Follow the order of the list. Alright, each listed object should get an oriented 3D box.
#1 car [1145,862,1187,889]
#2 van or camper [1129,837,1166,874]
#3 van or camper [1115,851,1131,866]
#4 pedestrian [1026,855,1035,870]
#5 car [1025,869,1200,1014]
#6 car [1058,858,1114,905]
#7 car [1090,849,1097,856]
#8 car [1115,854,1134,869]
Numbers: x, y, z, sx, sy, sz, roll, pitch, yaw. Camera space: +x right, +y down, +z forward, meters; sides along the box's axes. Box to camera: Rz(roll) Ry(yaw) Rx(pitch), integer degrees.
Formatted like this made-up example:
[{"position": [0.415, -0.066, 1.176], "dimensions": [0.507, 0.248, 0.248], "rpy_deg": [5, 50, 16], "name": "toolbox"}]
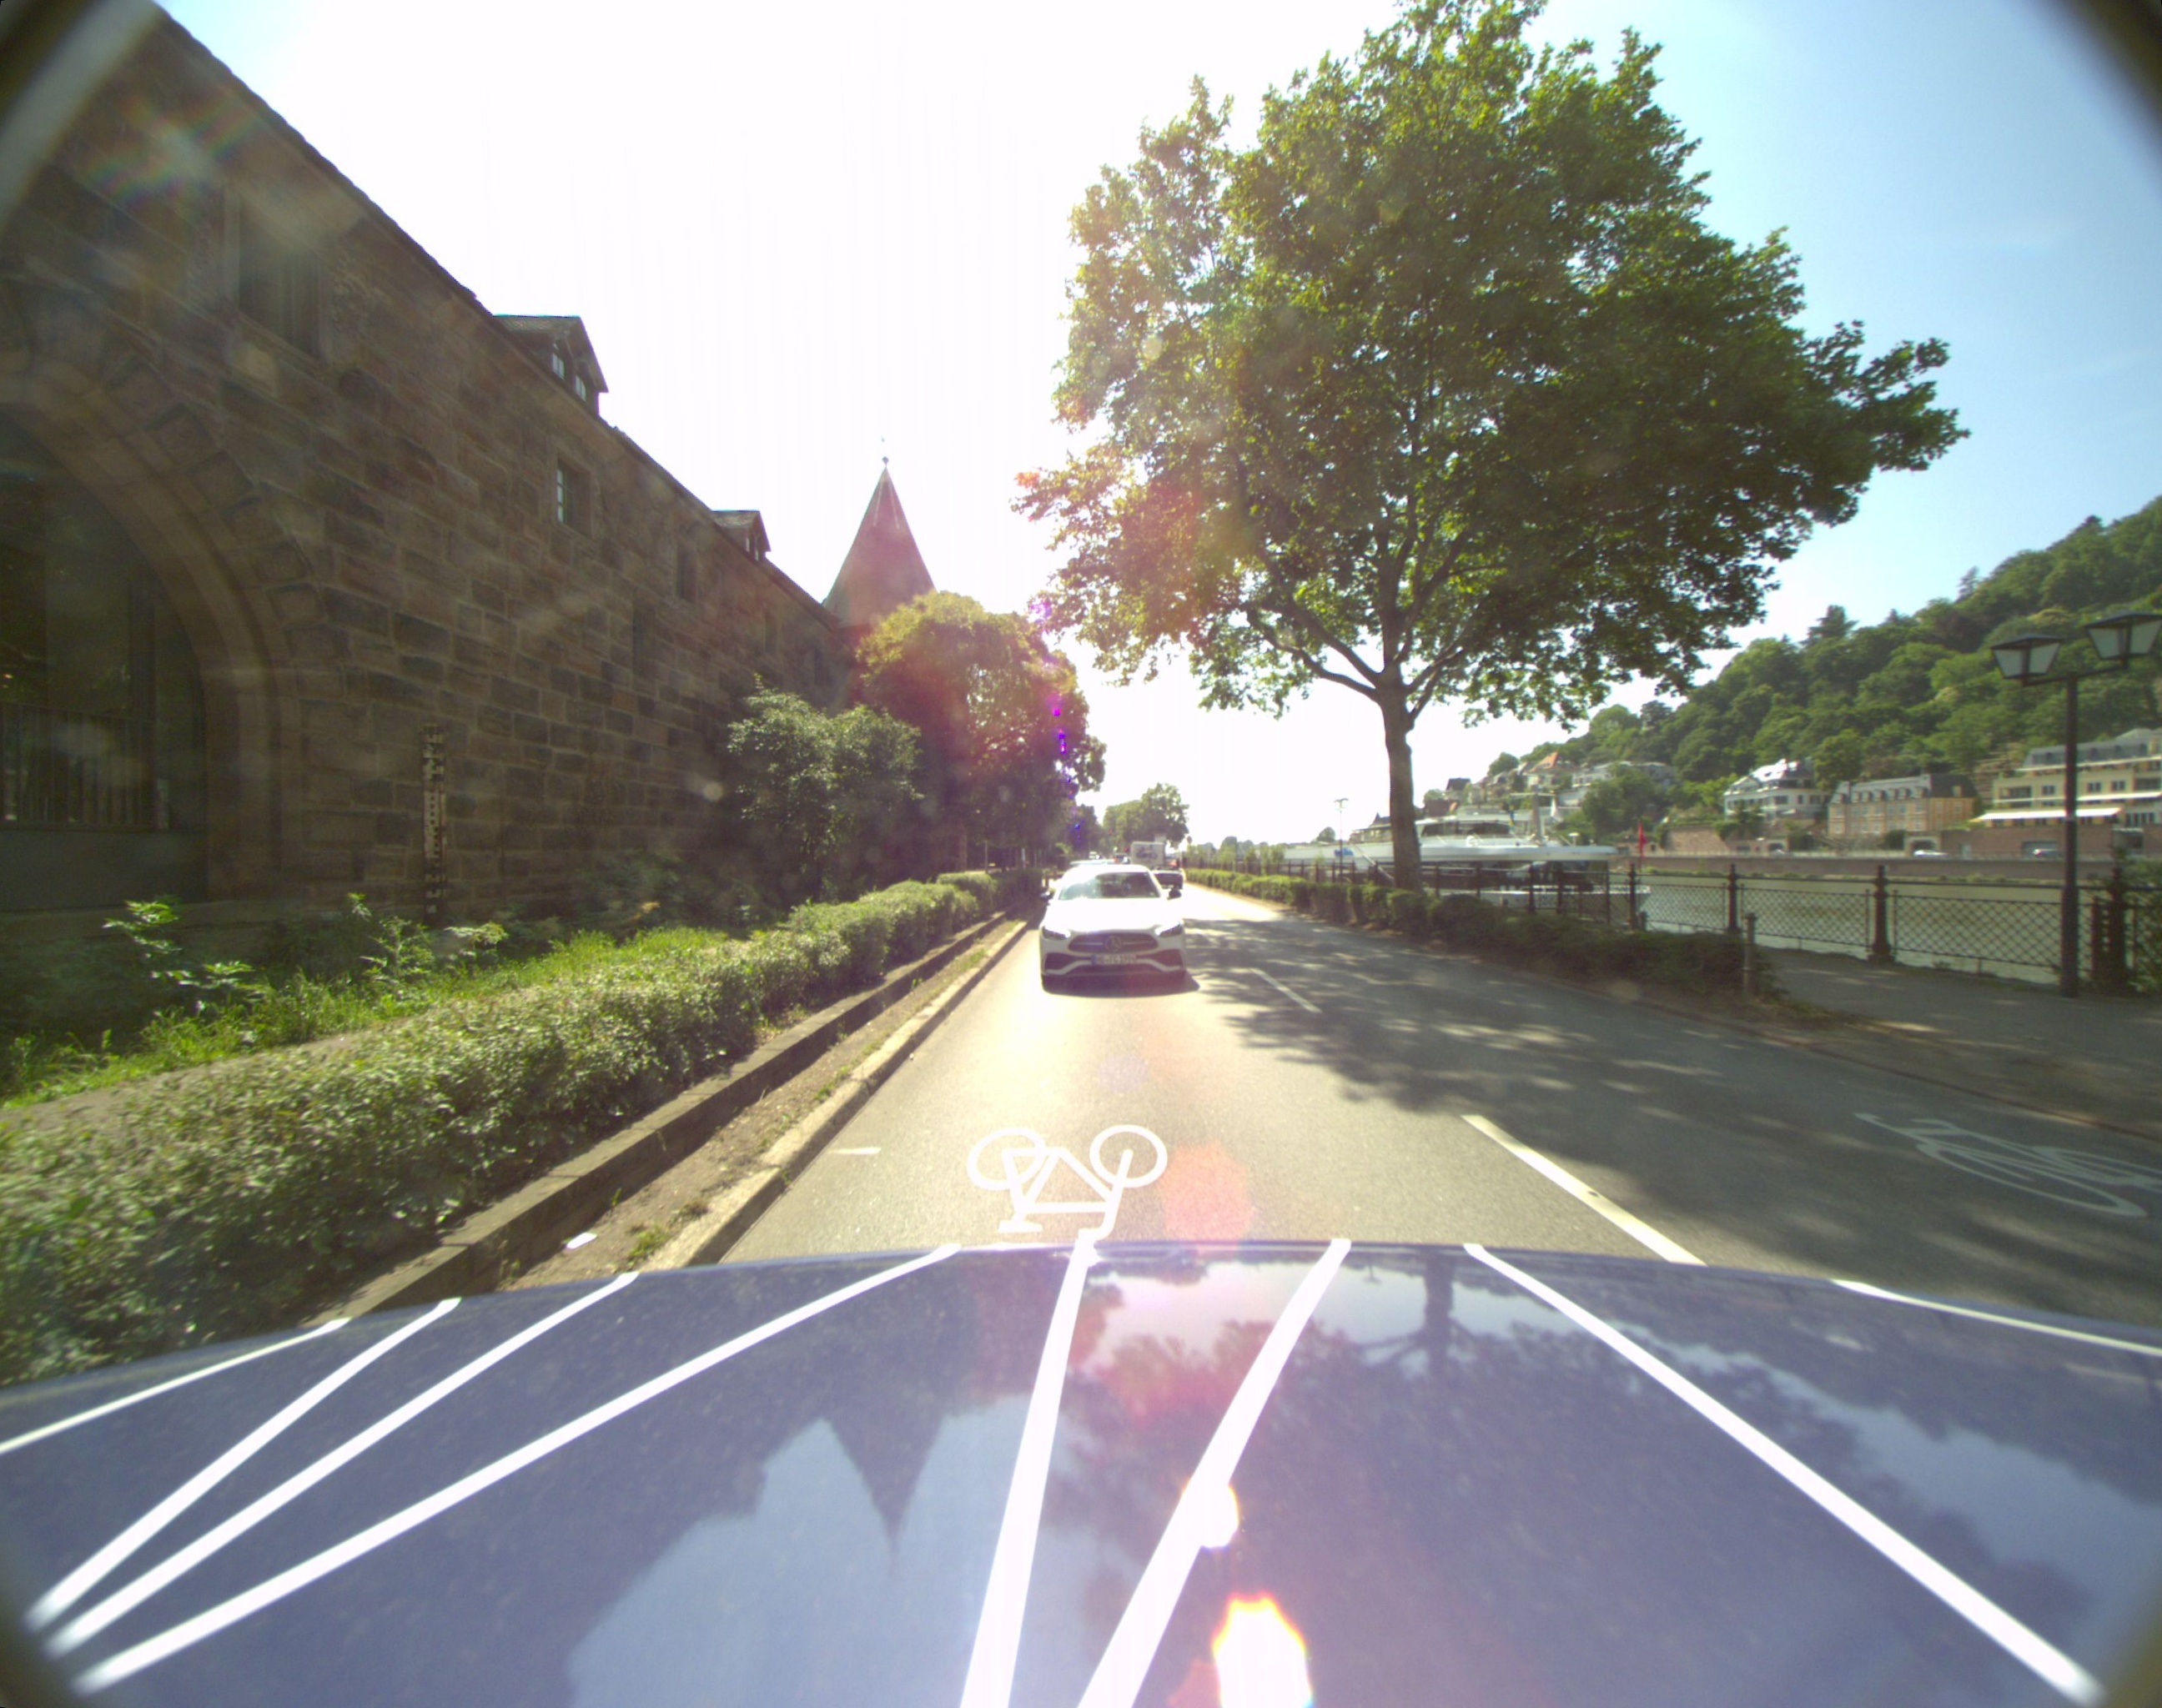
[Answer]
[{"position": [4.370, 1.065, 39.490], "dimensions": [1.702, 1.204, 3.485], "rpy_deg": [3, 0, 0], "name": "car"}, {"position": [5.086, 0.098, 58.858], "dimensions": [2.328, 2.647, 6.264], "rpy_deg": [1, 1, 1], "name": "van or camper"}, {"position": [5.579, 0.595, 100.835], "dimensions": [1.922, 1.975, 4.000], "rpy_deg": [1, 0, 1], "name": "van or camper"}, {"position": [-4.057, 0.683, 60.948], "dimensions": [0.632, 1.186, 0.747], "rpy_deg": [-2, 1, 3], "name": "pedestrian"}, {"position": [0.374, 0.983, 10.294], "dimensions": [1.829, 1.418, 4.359], "rpy_deg": [-1, 0, 1], "name": "car"}, {"position": [0.213, 0.933, 27.472], "dimensions": [1.854, 1.543, 3.848], "rpy_deg": [1, 0, 1], "name": "car"}, {"position": [3.581, -0.548, 215.886], "dimensions": [1.922, 1.975, 4.000], "rpy_deg": [1, 0, 1], "name": "car"}, {"position": [4.664, 0.797, 82.075], "dimensions": [1.826, 1.603, 3.960], "rpy_deg": [-1, 0, 1], "name": "car"}]
